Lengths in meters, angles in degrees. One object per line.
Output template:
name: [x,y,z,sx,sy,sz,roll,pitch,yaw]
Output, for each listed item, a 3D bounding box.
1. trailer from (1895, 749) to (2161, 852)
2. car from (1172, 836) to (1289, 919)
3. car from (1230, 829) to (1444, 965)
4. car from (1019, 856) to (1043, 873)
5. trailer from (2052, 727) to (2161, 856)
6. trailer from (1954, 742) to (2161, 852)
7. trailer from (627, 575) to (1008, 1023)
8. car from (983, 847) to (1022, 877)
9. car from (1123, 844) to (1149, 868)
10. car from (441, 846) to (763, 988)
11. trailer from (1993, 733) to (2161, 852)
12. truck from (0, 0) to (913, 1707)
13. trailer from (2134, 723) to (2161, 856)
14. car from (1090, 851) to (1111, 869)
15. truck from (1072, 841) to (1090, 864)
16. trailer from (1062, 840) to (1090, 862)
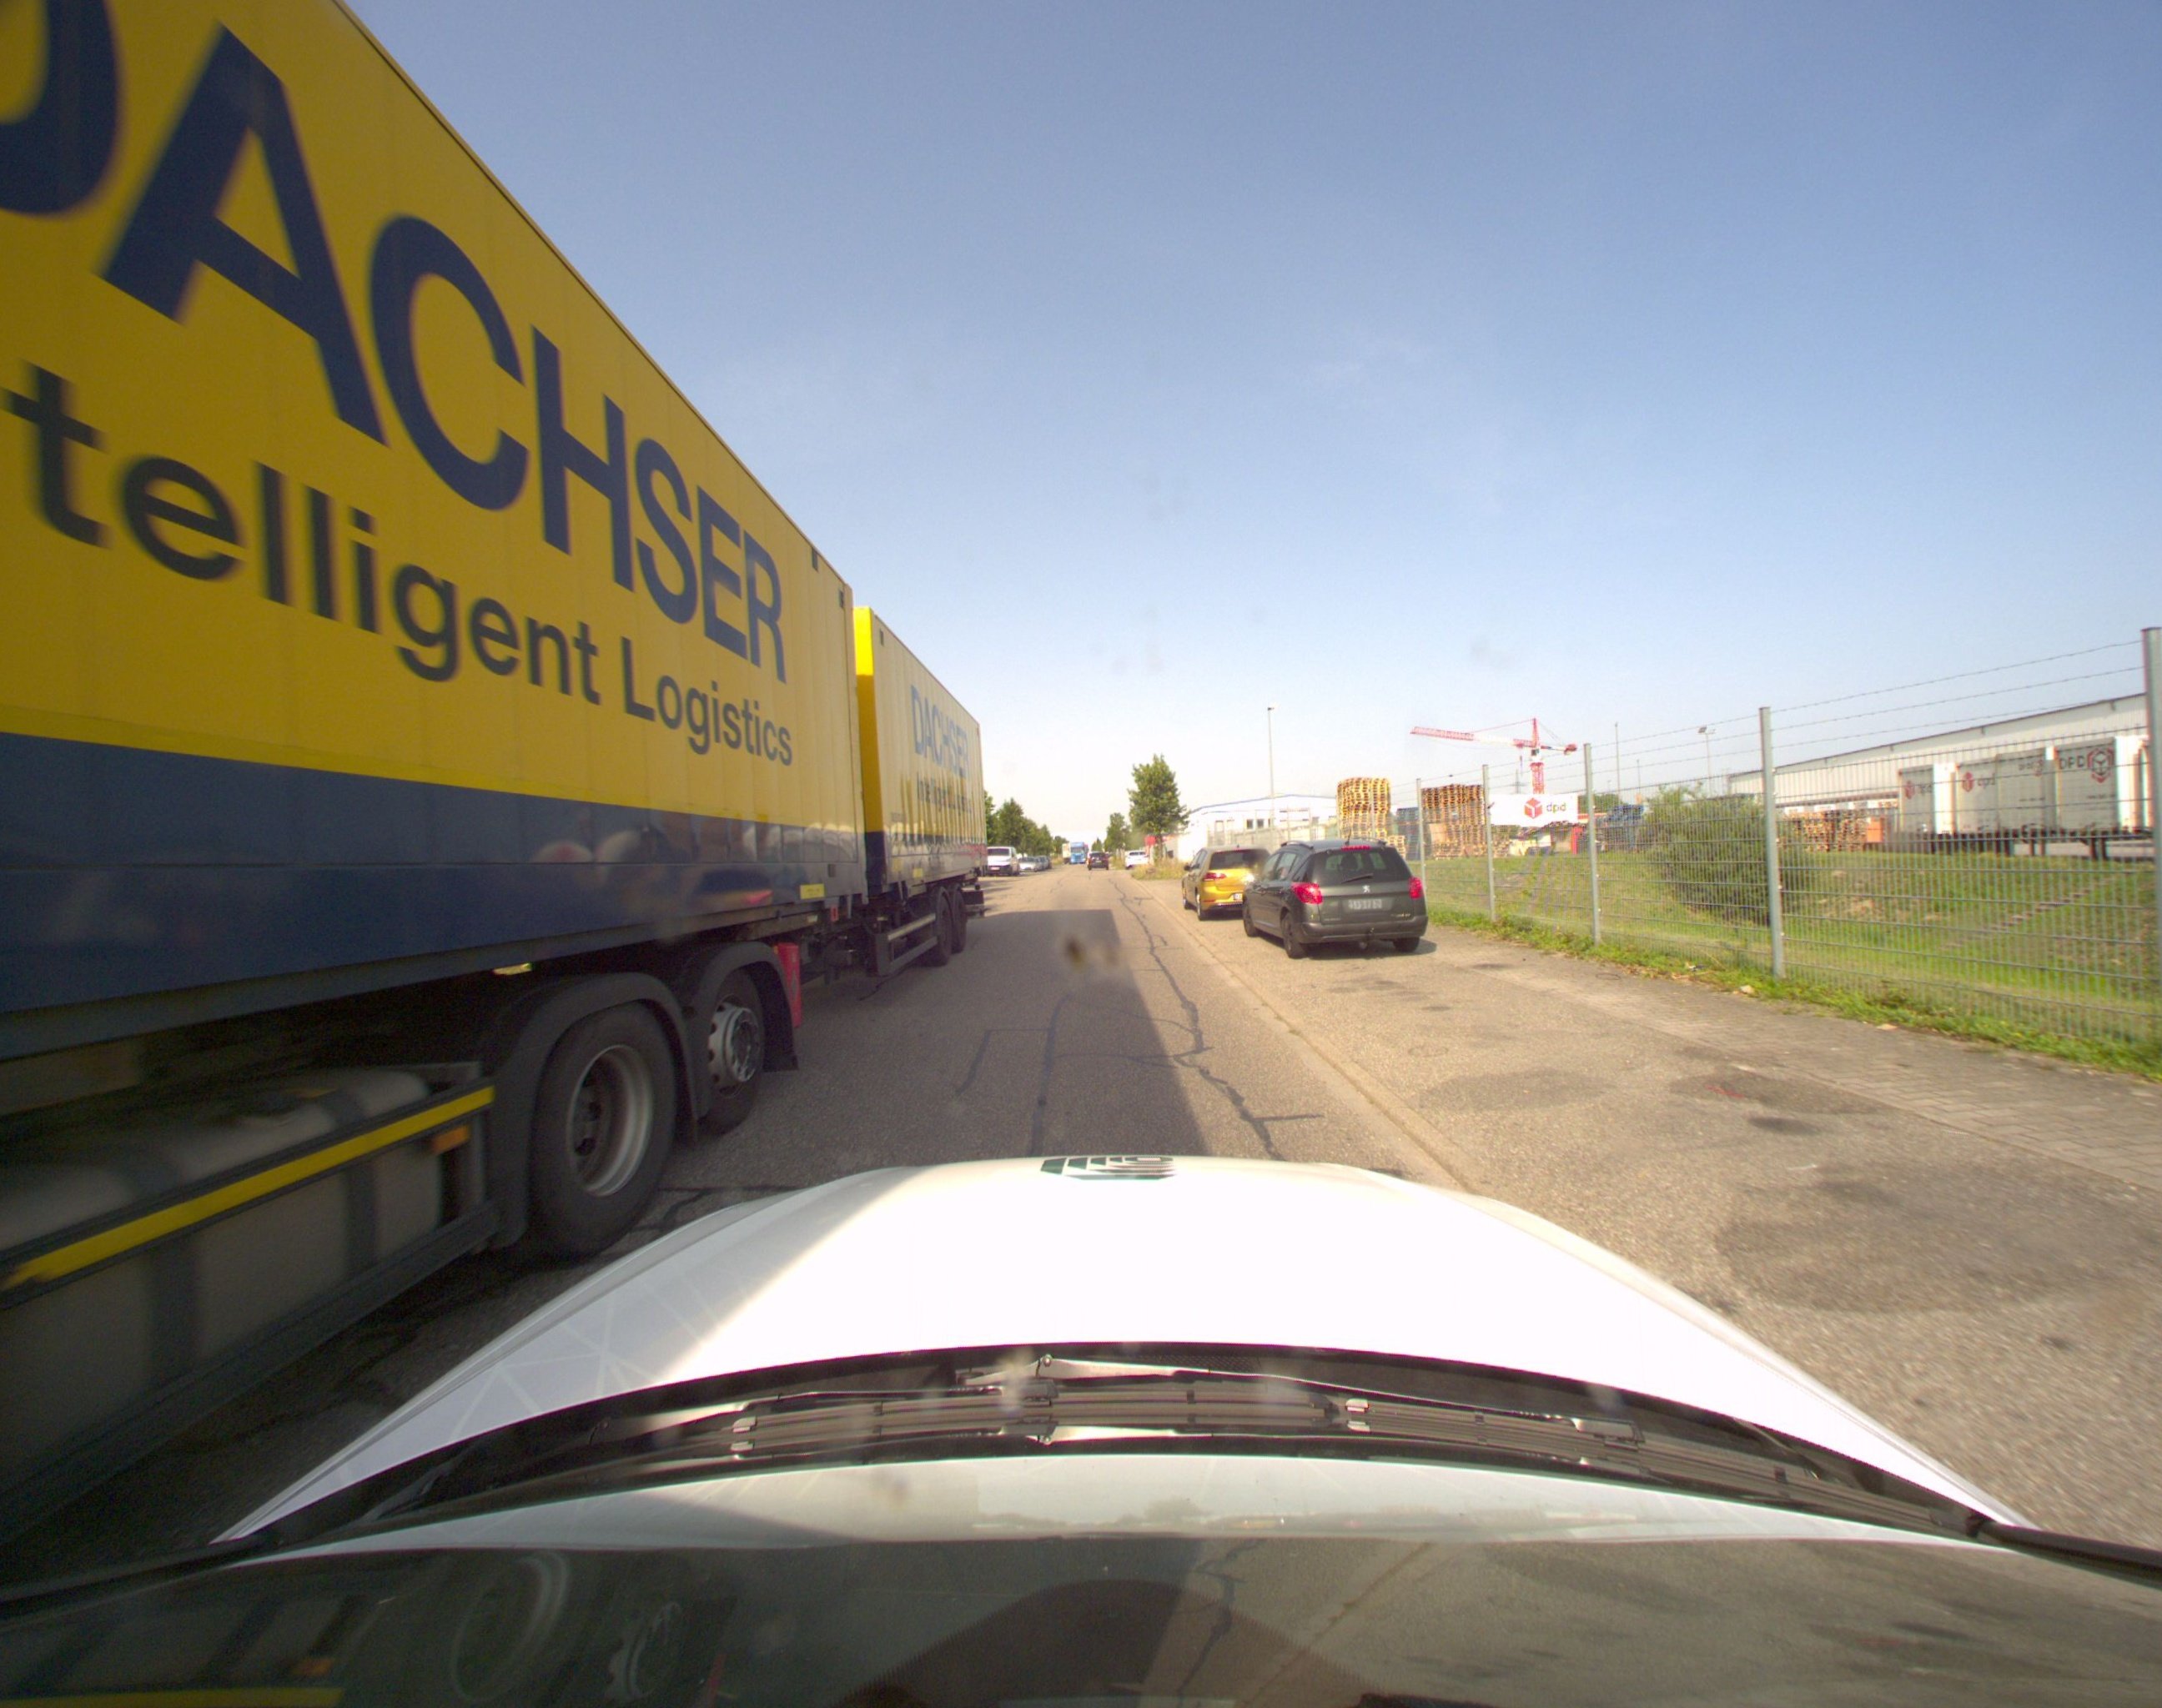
trailer: [39.248,-2.087,33.376,7.896,3.893,2.757,0,1,20]
car: [3.069,0.438,17.540,1.709,1.455,4.187,-4,0,0]
car: [3.443,0.514,11.784,1.710,1.515,4.002,-4,0,-1]
car: [-4.584,0.925,75.574,1.799,1.496,3.938,-2,0,2]
trailer: [36.072,-1.928,24.880,7.896,3.893,2.790,0,1,20]
trailer: [38.563,-2.060,30.319,7.896,3.893,2.757,0,1,20]
trailer: [-2.910,-0.546,12.068,2.490,4.145,8.498,-4,0,1]
car: [-4.833,0.473,50.718,1.826,1.762,4.051,-1,0,2]
car: [4.264,0.148,63.301,1.709,1.680,3.949,-2,0,0]
car: [-6.566,0.750,11.901,1.895,1.626,4.451,-2,0,2]
trailer: [37.088,-2.060,27.581,7.896,3.893,2.790,0,1,20]
truck: [-3.059,-0.461,2.555,2.490,4.145,10.380,-4,0,1]
trailer: [35.222,-1.895,22.094,7.896,3.893,2.790,0,1,20]
car: [1.810,0.533,76.227,1.874,1.586,4.113,-2,0,0]
truck: [-0.040,-0.229,138.813,2.870,3.760,6.082,-2,0,-1]
trailer: [-1.064,-0.433,147.268,2.880,3.760,12.034,-2,0,-11]
